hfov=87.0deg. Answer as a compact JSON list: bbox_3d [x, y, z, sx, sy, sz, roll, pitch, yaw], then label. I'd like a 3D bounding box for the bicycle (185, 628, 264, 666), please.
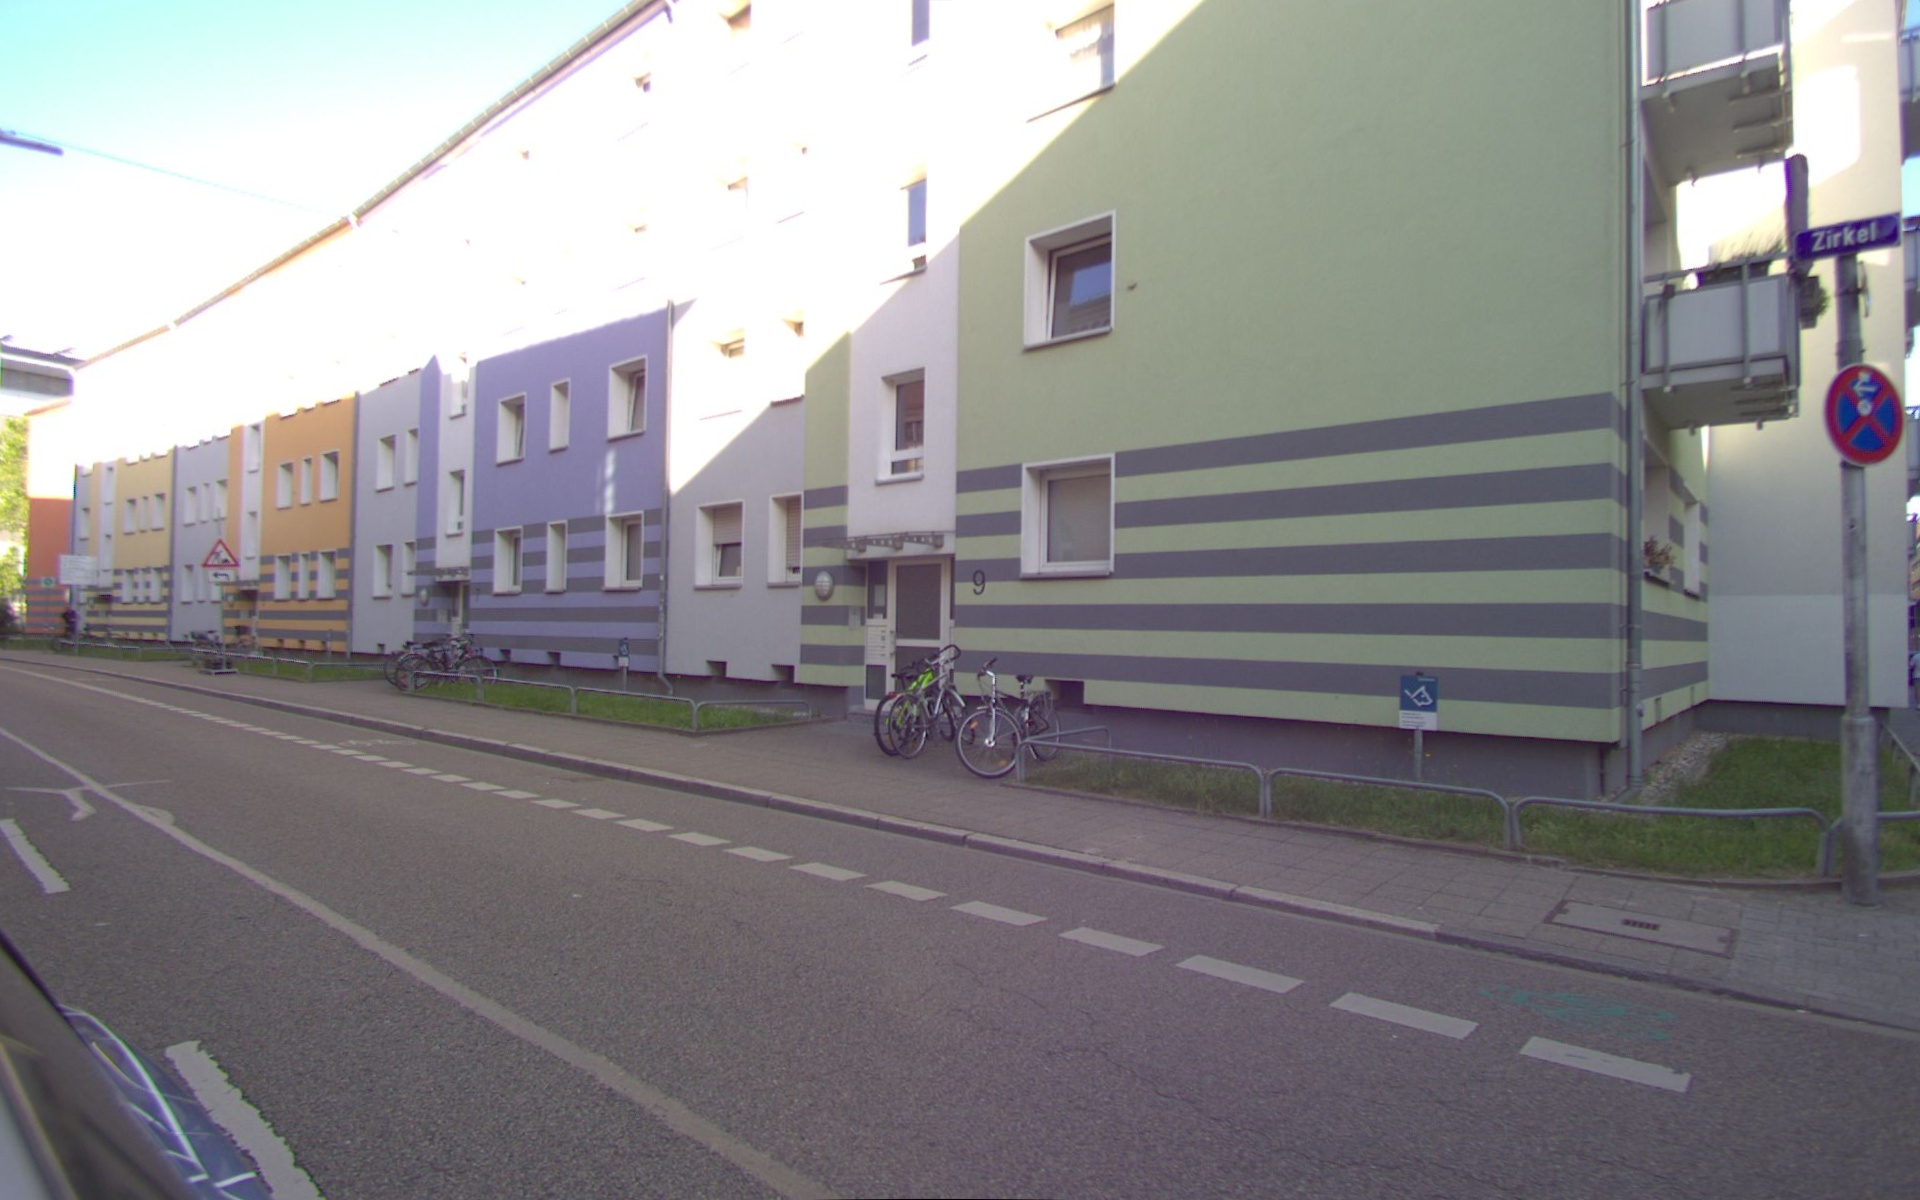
[{"bbox_3d":[-22.202,1.409,30.584,0.653,0.990,1.786,-1,2,38],"label":"bicycle"}]

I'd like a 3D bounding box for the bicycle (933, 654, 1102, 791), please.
[{"bbox_3d":[0.622,1.177,10.221,0.749,1.109,1.797,-1,1,41],"label":"bicycle"}]

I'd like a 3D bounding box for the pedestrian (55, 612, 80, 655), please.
[{"bbox_3d":[-35.364,1.333,40.109,0.447,1.663,0.605,-1,-2,35],"label":"pedestrian"}]

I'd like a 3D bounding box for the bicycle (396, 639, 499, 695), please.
[{"bbox_3d":[-10.147,1.316,20.083,0.388,0.953,1.780,-1,1,41],"label":"bicycle"}]

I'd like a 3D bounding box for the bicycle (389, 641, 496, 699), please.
[{"bbox_3d":[-9.866,1.315,19.349,0.388,0.953,1.780,-1,1,41],"label":"bicycle"}]

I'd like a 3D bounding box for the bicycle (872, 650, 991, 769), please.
[{"bbox_3d":[-0.280,1.184,11.373,0.387,1.109,1.719,-1,1,34],"label":"bicycle"}]

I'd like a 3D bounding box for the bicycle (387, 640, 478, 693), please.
[{"bbox_3d":[-10.960,1.360,21.060,0.388,0.953,1.636,-1,1,41],"label":"bicycle"}]

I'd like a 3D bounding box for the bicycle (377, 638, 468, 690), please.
[{"bbox_3d":[-11.293,1.318,21.296,0.388,0.953,1.636,-1,1,41],"label":"bicycle"}]

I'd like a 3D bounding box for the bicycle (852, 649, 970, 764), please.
[{"bbox_3d":[-0.531,1.185,11.700,0.387,1.109,1.719,-1,1,34],"label":"bicycle"}]
